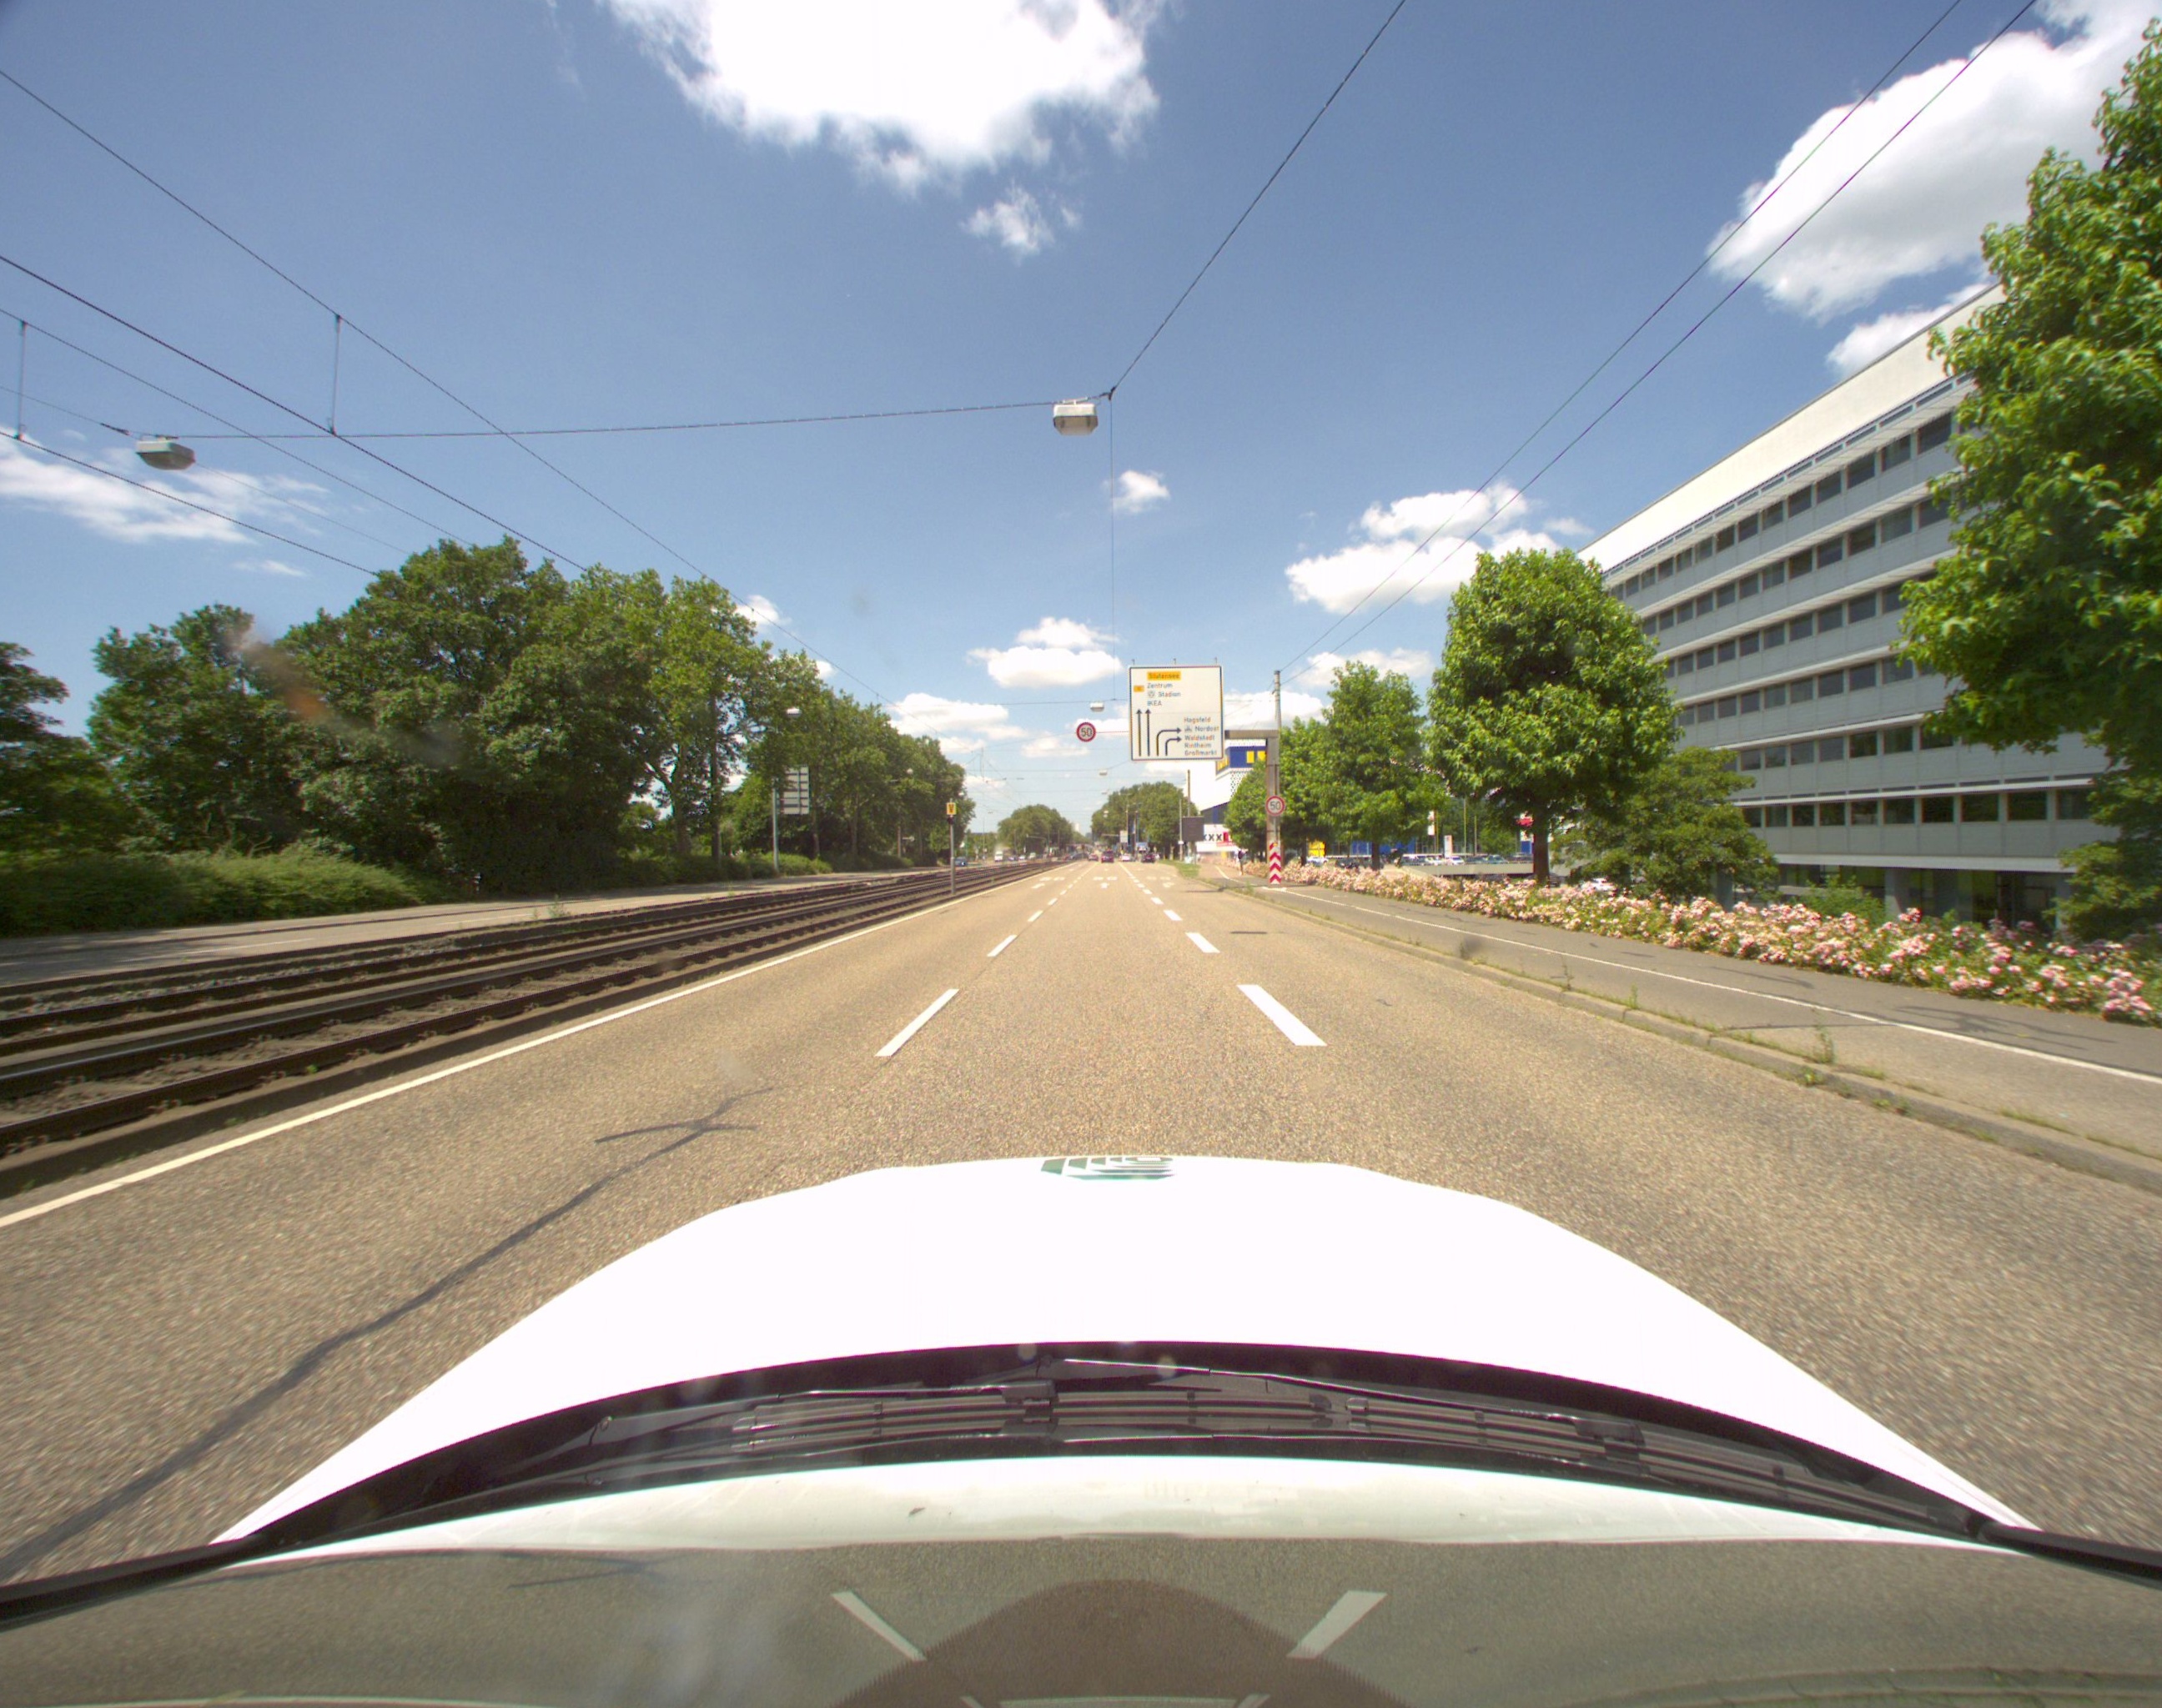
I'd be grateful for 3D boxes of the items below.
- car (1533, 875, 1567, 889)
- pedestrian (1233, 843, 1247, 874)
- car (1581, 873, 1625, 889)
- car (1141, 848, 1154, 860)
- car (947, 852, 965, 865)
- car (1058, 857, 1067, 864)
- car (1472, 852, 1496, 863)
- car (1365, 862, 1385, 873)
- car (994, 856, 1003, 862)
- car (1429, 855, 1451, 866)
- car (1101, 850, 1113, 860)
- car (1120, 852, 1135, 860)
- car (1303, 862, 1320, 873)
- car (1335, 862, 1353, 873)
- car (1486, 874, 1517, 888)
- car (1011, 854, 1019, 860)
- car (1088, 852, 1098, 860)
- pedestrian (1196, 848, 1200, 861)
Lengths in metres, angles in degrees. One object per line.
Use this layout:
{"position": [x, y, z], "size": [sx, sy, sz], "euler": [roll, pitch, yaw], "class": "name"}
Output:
{"position": [52.822, 3.145, 91.800], "size": [1.734, 1.482, 3.966], "euler": [0, 0, 2], "class": "car"}
{"position": [9.424, 0.275, 48.318], "size": [0.666, 1.792, 0.925], "euler": [0, 0, 4], "class": "pedestrian"}
{"position": [51.990, 2.672, 81.194], "size": [1.734, 1.482, 4.242], "euler": [0, 0, 2], "class": "car"}
{"position": [10.464, -0.037, 128.217], "size": [1.892, 1.805, 3.979], "euler": [0, 0, 2], "class": "car"}
{"position": [-16.327, 0.559, 106.426], "size": [1.639, 1.550, 4.216], "euler": [0, 0, 0], "class": "car"}
{"position": [-4.017, 1.423, 177.778], "size": [1.836, 1.549, 3.776], "euler": [1, 0, 0], "class": "car"}
{"position": [56.871, 0.481, 114.970], "size": [1.566, 1.482, 3.888], "euler": [0, 0, 0], "class": "car"}
{"position": [44.976, 2.077, 124.657], "size": [1.566, 1.482, 3.888], "euler": [0, 0, 0], "class": "car"}
{"position": [-20.680, 1.198, 204.336], "size": [1.617, 1.549, 3.705], "euler": [0, 0, 1], "class": "car"}
{"position": [51.835, 0.929, 117.590], "size": [1.566, 1.482, 3.888], "euler": [0, 0, 0], "class": "car"}
{"position": [4.109, 0.086, 127.627], "size": [1.869, 1.539, 3.777], "euler": [0, 0, 1], "class": "car"}
{"position": [9.131, 0.459, 158.853], "size": [1.670, 1.549, 4.006], "euler": [1, 0, 24], "class": "car"}
{"position": [35.306, 2.040, 124.827], "size": [1.566, 1.482, 3.888], "euler": [0, 0, 0], "class": "car"}
{"position": [40.844, 2.082, 126.497], "size": [1.566, 1.482, 3.888], "euler": [0, 0, 0], "class": "car"}
{"position": [48.194, 3.069, 93.400], "size": [1.734, 1.482, 3.966], "euler": [0, 0, 2], "class": "car"}
{"position": [-16.834, 0.765, 207.536], "size": [1.617, 1.549, 3.705], "euler": [0, 0, 1], "class": "car"}
{"position": [2.335, 0.415, 160.745], "size": [1.836, 1.549, 3.776], "euler": [1, 0, 0], "class": "car"}
{"position": [16.268, 0.096, 113.312], "size": [0.578, 1.792, 0.590], "euler": [0, 0, -1], "class": "pedestrian"}
